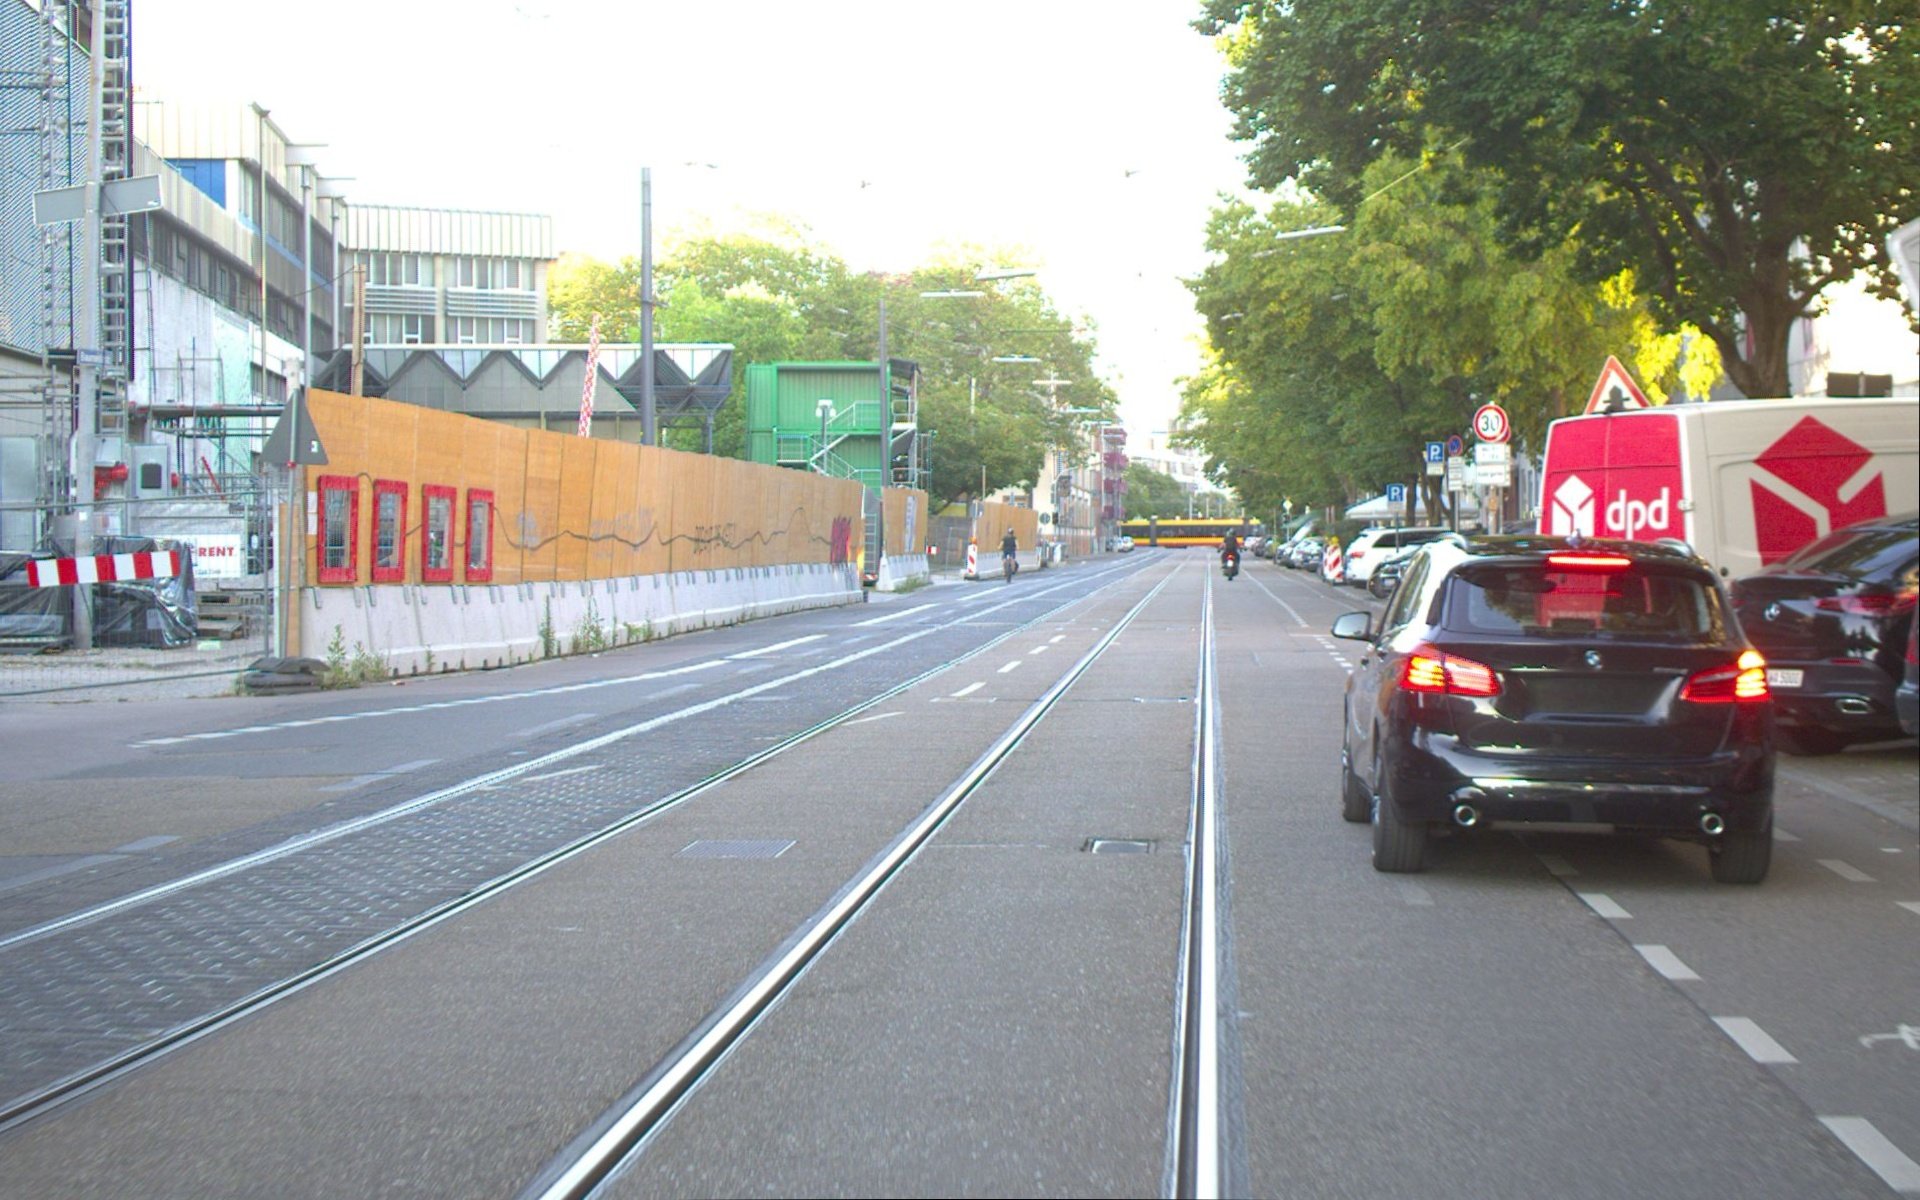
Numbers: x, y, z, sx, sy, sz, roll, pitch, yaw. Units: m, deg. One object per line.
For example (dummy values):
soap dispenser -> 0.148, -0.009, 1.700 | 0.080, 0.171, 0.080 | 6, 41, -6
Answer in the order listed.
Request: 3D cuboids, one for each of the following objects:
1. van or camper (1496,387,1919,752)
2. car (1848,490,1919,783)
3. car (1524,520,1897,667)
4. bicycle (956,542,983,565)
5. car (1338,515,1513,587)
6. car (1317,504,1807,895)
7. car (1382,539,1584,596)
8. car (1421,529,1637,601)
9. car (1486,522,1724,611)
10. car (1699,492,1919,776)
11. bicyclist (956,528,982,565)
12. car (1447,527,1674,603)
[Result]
van or camper -> 7.061, -0.341, 26.663 | 5.532, 2.522, 2.087 | -4, 1, -30
car -> 7.708, 0.102, 21.145 | 3.941, 1.759, 1.841 | -4, 1, -22
car -> 7.962, -0.081, 36.375 | 3.769, 1.304, 1.655 | -4, 2, -34
bicycle -> 0.377, -1.751, 129.590 | 0.948, 0.846, 2.697 | 0, 1, 1
car -> 11.453, -1.214, 84.693 | 3.941, 1.716, 1.635 | -1, 1, -10
car -> 2.805, 0.377, 16.864 | 1.882, 1.614, 4.000 | 2, 2, 4
car -> 11.175, -0.707, 73.567 | 3.941, 1.171, 1.635 | -1, 1, -11
car -> 11.373, -0.715, 68.810 | 3.941, 1.401, 1.635 | -1, 1, -11
car -> 11.730, -0.621, 62.581 | 3.941, 1.573, 1.635 | -1, 1, -11
car -> 7.253, 0.114, 23.325 | 3.941, 1.759, 1.841 | -4, 1, -22
bicyclist -> 0.353, -2.006, 128.791 | 0.944, 1.341, 1.111 | 0, 1, 2
car -> 11.449, -0.675, 65.609 | 3.941, 1.401, 1.635 | -1, 1, -11
